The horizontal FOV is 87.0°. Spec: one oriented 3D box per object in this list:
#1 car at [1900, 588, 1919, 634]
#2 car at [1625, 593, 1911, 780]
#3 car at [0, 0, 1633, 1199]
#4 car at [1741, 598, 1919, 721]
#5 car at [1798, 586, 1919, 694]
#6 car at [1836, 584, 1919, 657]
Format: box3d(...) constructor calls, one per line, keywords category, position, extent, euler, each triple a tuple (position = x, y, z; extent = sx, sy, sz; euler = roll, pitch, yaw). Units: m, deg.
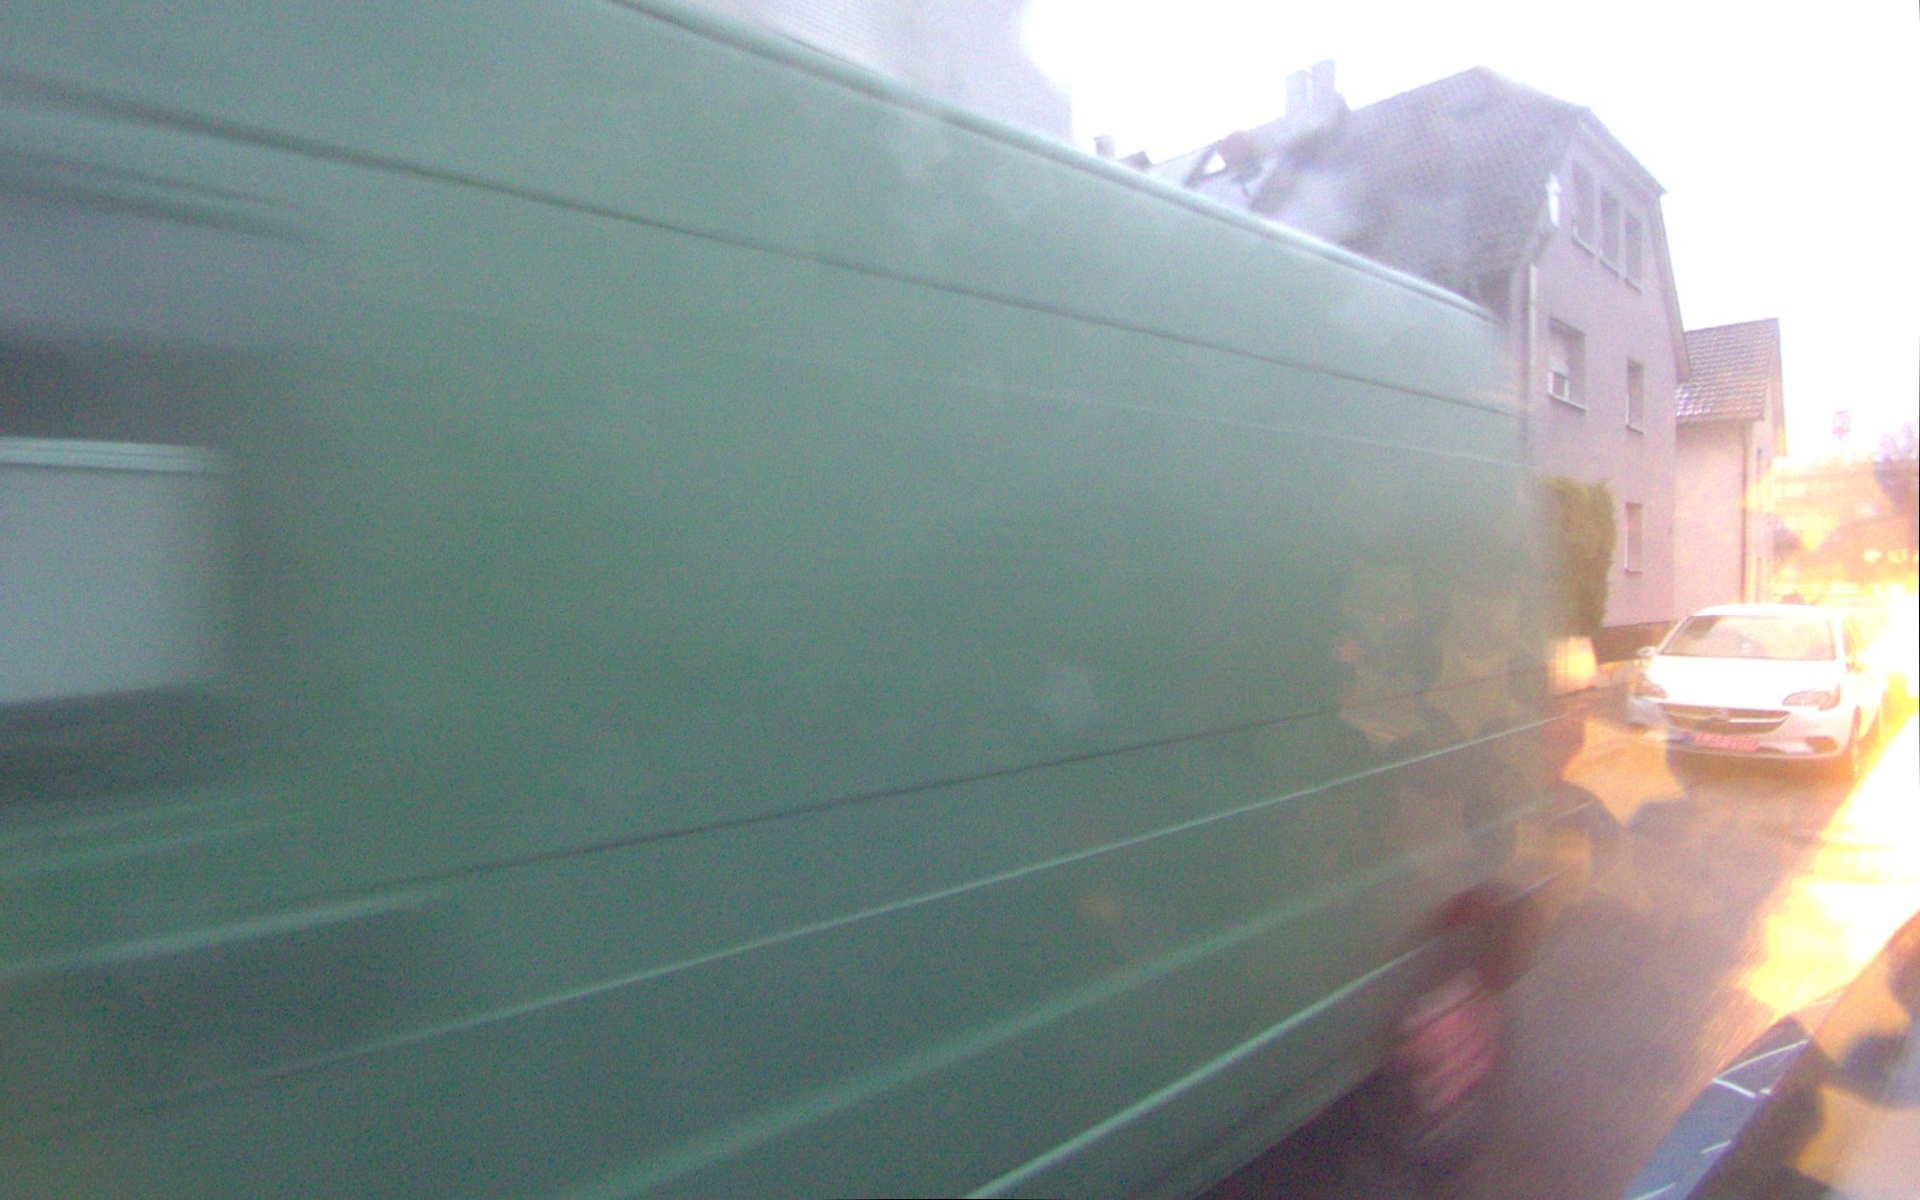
box3d(category="car", position=(35.240, 0.369, 36.356), extent=(1.984, 1.577, 4.173), euler=(0, 0, 41))
box3d(category="car", position=(8.251, 0.689, 10.181), extent=(4.297, 1.496, 1.645), euler=(0, 0, -43))
box3d(category="car", position=(-0.692, 0.237, 2.168), extent=(5.514, 2.485, 2.013), euler=(0, 0, -39))
box3d(category="car", position=(12.246, 0.692, 13.915), extent=(4.231, 1.424, 1.737), euler=(0, 0, -43))
box3d(category="car", position=(15.490, 0.573, 16.877), extent=(4.232, 1.558, 1.812), euler=(-1, 1, -43))
box3d(category="car", position=(22.969, 0.448, 24.746), extent=(4.166, 1.669, 1.987), euler=(0, 0, -44))
